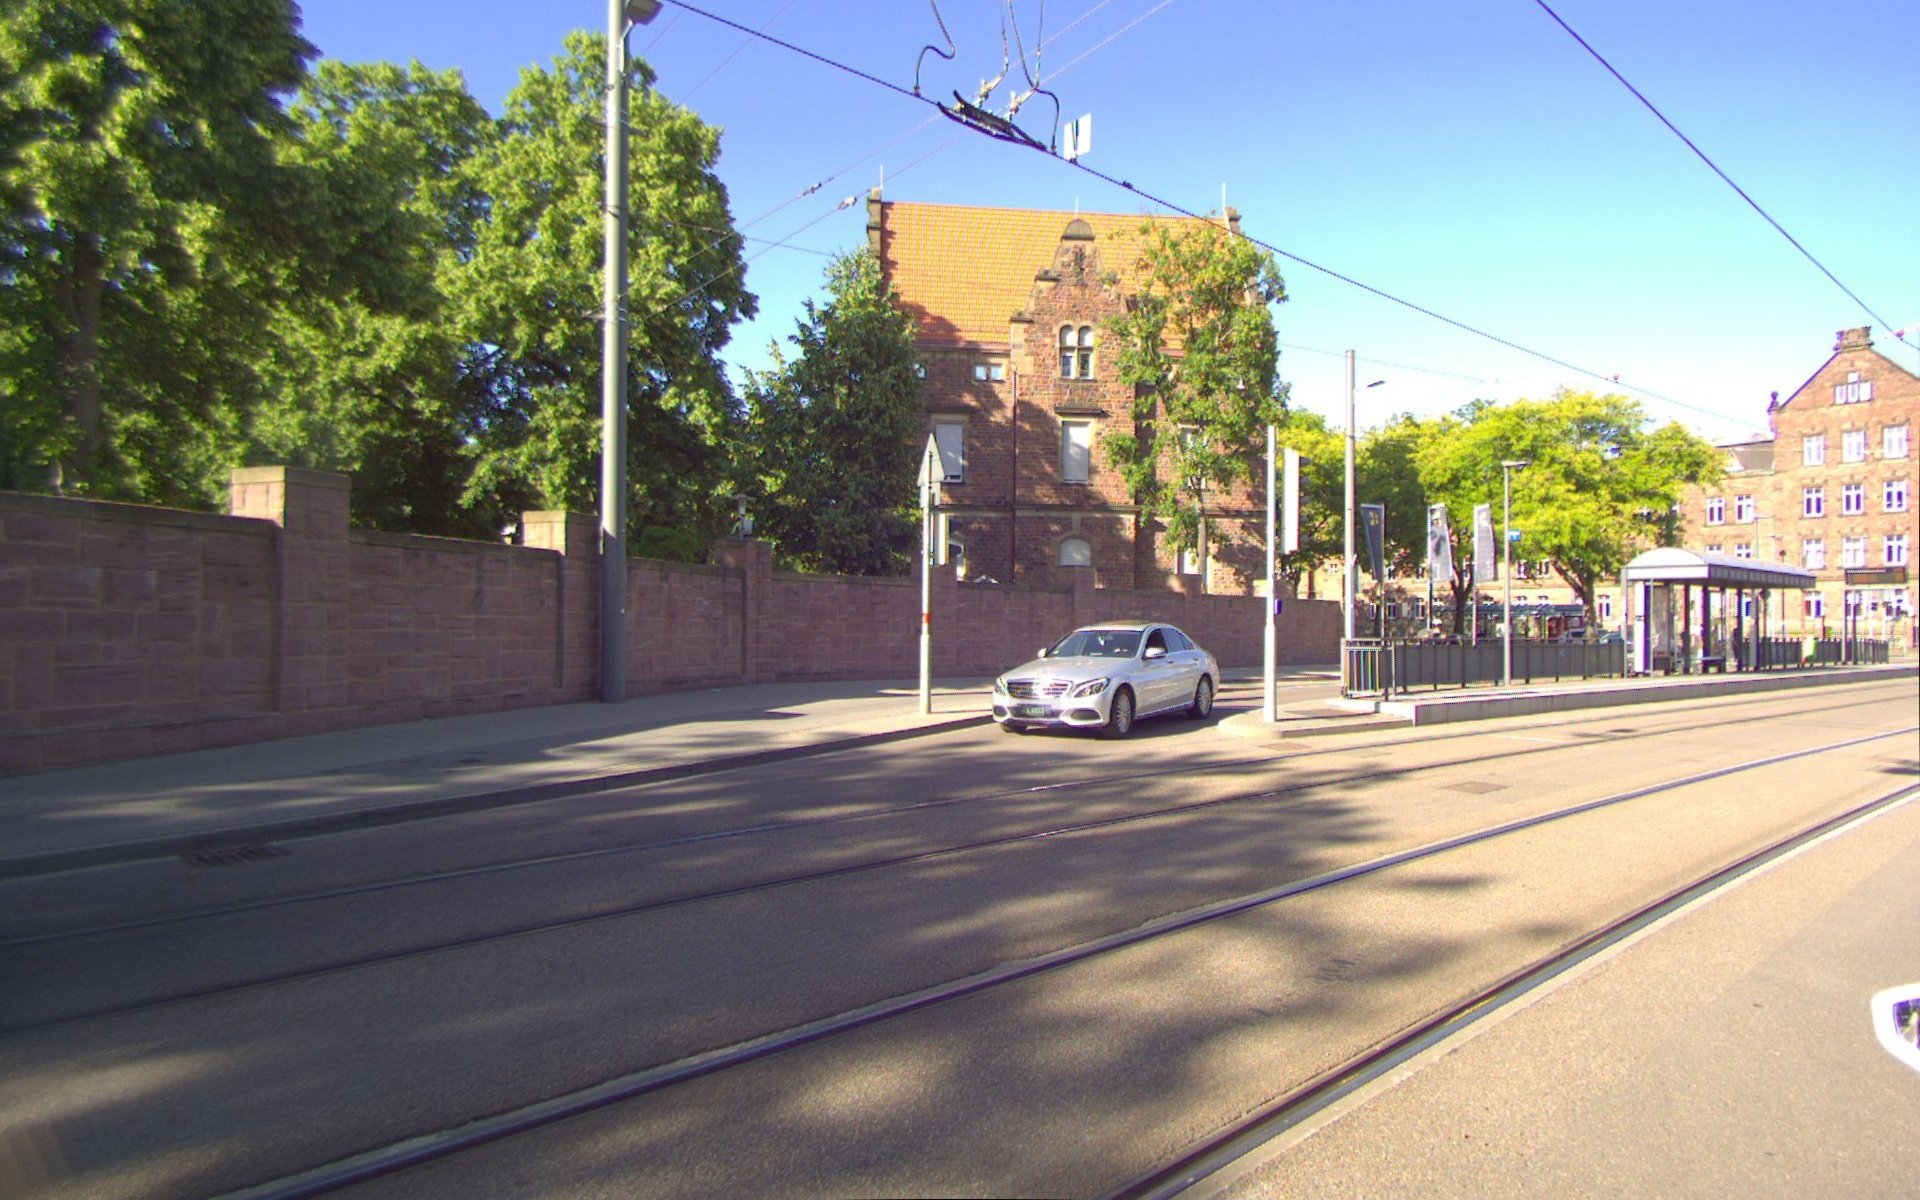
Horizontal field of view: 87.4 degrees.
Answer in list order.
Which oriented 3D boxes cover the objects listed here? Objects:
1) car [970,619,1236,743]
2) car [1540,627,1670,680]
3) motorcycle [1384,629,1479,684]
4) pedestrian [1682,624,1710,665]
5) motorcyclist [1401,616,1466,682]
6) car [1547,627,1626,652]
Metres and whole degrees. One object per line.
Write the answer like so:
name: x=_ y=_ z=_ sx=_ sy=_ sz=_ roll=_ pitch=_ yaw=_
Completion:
car: x=2.230 y=1.013 z=14.416 sx=1.859 sy=1.434 sz=4.607 roll=-1 pitch=-1 yaw=36
car: x=19.812 y=1.682 z=30.821 sx=3.941 sy=1.420 sz=1.845 roll=4 pitch=-7 yaw=-33
motorcycle: x=11.653 y=1.381 z=24.786 sx=2.552 sy=1.260 sz=1.121 roll=2 pitch=-1 yaw=-39
pedestrian: x=34.705 y=2.095 z=47.380 sx=1.085 sy=1.885 sz=0.722 roll=2 pitch=-1 yaw=-33
motorcyclist: x=11.698 y=1.196 z=24.817 sx=1.046 sy=1.545 sz=1.115 roll=2 pitch=-1 yaw=-39
car: x=41.115 y=2.587 z=65.987 sx=1.857 sy=1.542 sz=4.041 roll=2 pitch=-1 yaw=-33
